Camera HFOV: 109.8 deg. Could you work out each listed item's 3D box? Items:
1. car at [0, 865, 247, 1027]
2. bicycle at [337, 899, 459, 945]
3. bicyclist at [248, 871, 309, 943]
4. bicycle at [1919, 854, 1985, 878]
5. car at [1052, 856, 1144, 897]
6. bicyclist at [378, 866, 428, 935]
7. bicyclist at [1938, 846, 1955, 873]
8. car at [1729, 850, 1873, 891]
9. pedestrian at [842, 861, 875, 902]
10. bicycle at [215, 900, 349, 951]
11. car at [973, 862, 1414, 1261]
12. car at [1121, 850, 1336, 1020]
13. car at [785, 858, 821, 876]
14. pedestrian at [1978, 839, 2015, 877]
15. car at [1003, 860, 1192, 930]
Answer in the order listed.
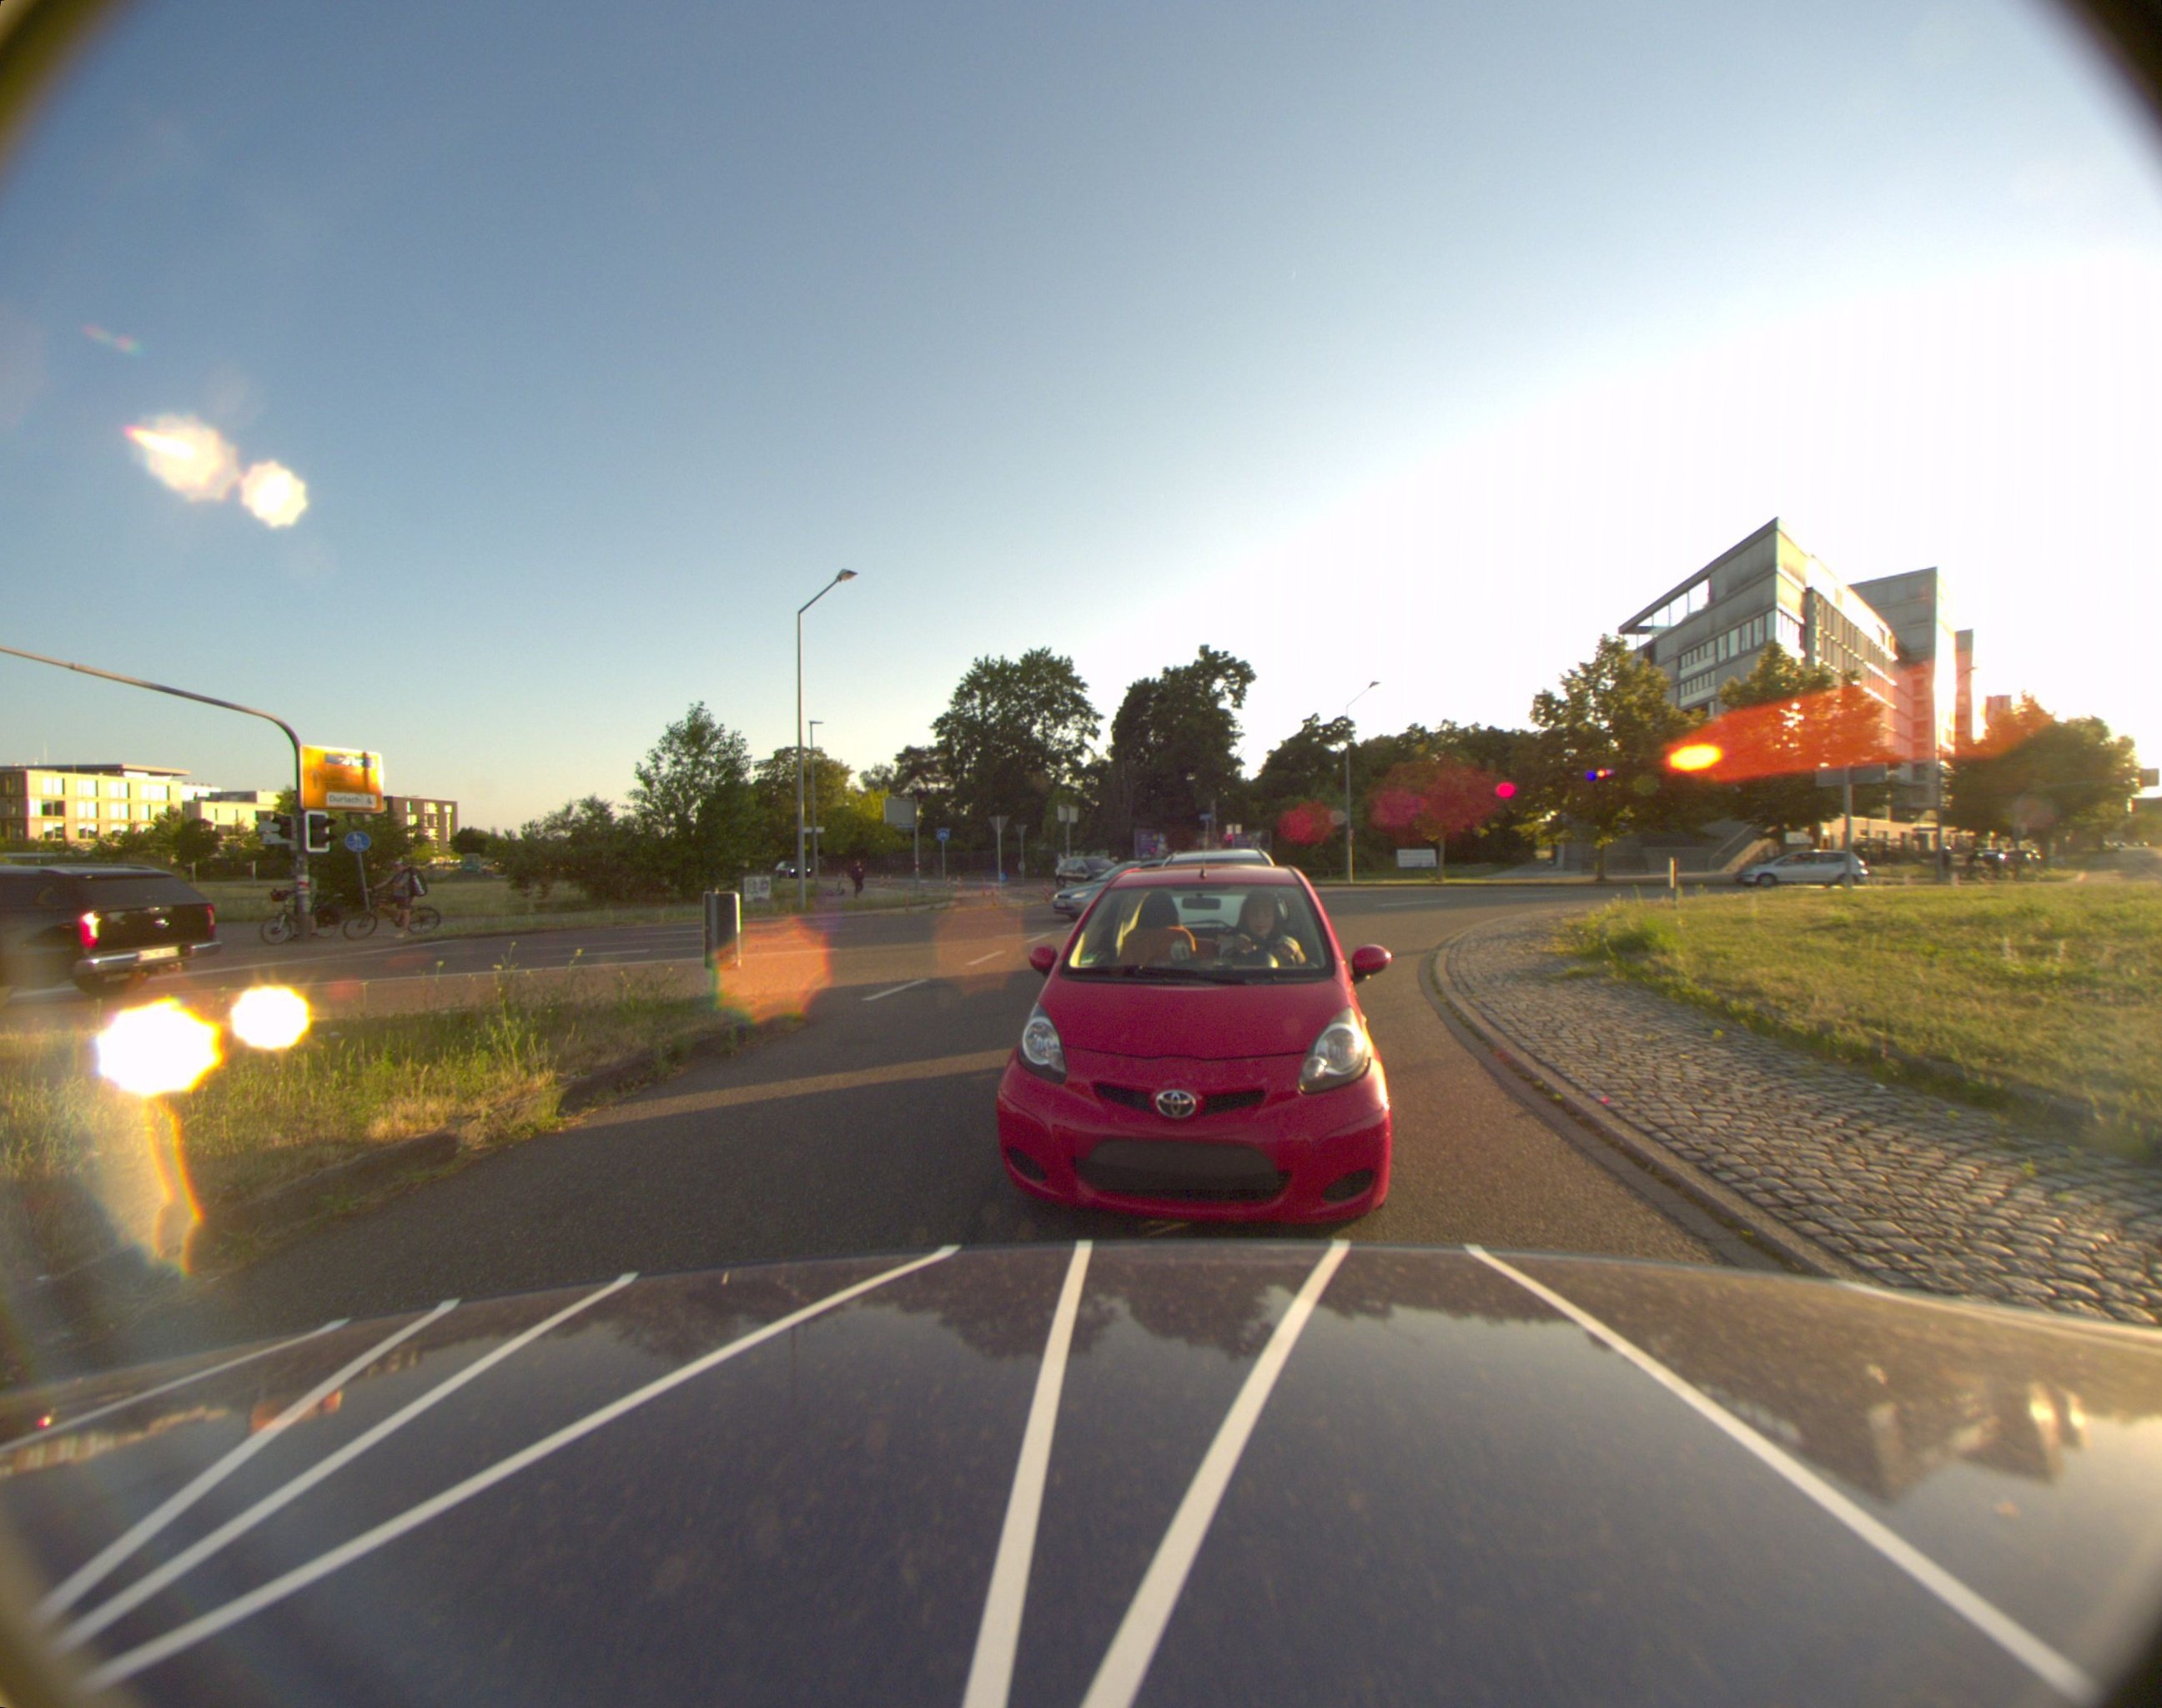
[{"bbox_3d":[-14.112,1.062,9.145,5.307,1.802,1.998,0,0,-11],"label":"car"},{"bbox_3d":[-17.164,1.677,19.163,0.708,0.957,2.149,-1,0,26],"label":"bicycle"},{"bbox_3d":[-19.334,1.255,18.316,0.724,1.680,0.690,-1,1,12],"label":"bicyclist"},{"bbox_3d":[47.087,0.624,41.116,0.744,1.237,2.341,-2,1,-41],"label":"bicycle"},{"bbox_3d":[0.615,0.881,31.929,2.003,1.588,4.304,-1,1,-28],"label":"car"},{"bbox_3d":[-17.149,1.163,19.224,0.723,1.680,0.690,-1,1,28],"label":"bicyclist"},{"bbox_3d":[46.975,0.304,41.258,0.693,1.432,0.610,-2,1,-42],"label":"bicyclist"},{"bbox_3d":[29.274,0.659,31.079,3.882,1.571,1.958,-1,0,28],"label":"car"},{"bbox_3d":[-9.081,1.105,30.978,0.994,1.581,0.924,-2,1,-36],"label":"pedestrian"},{"bbox_3d":[-19.275,1.696,18.403,0.708,0.958,2.109,-1,2,14],"label":"bicycle"},{"bbox_3d":[0.790,0.806,4.937,1.687,1.412,4.003,-1,0,11],"label":"car"},{"bbox_3d":[1.637,0.772,9.342,1.997,1.597,4.200,-1,0,7],"label":"car"},{"bbox_3d":[-24.468,1.146,66.742,2.003,1.477,3.990,-1,0,-35],"label":"car"},{"bbox_3d":[49.367,0.193,40.986,0.776,2.002,0.998,-2,1,-11],"label":"pedestrian"},{"bbox_3d":[0.451,0.931,18.980,4.318,1.483,1.995,-1,1,-32],"label":"car"}]
